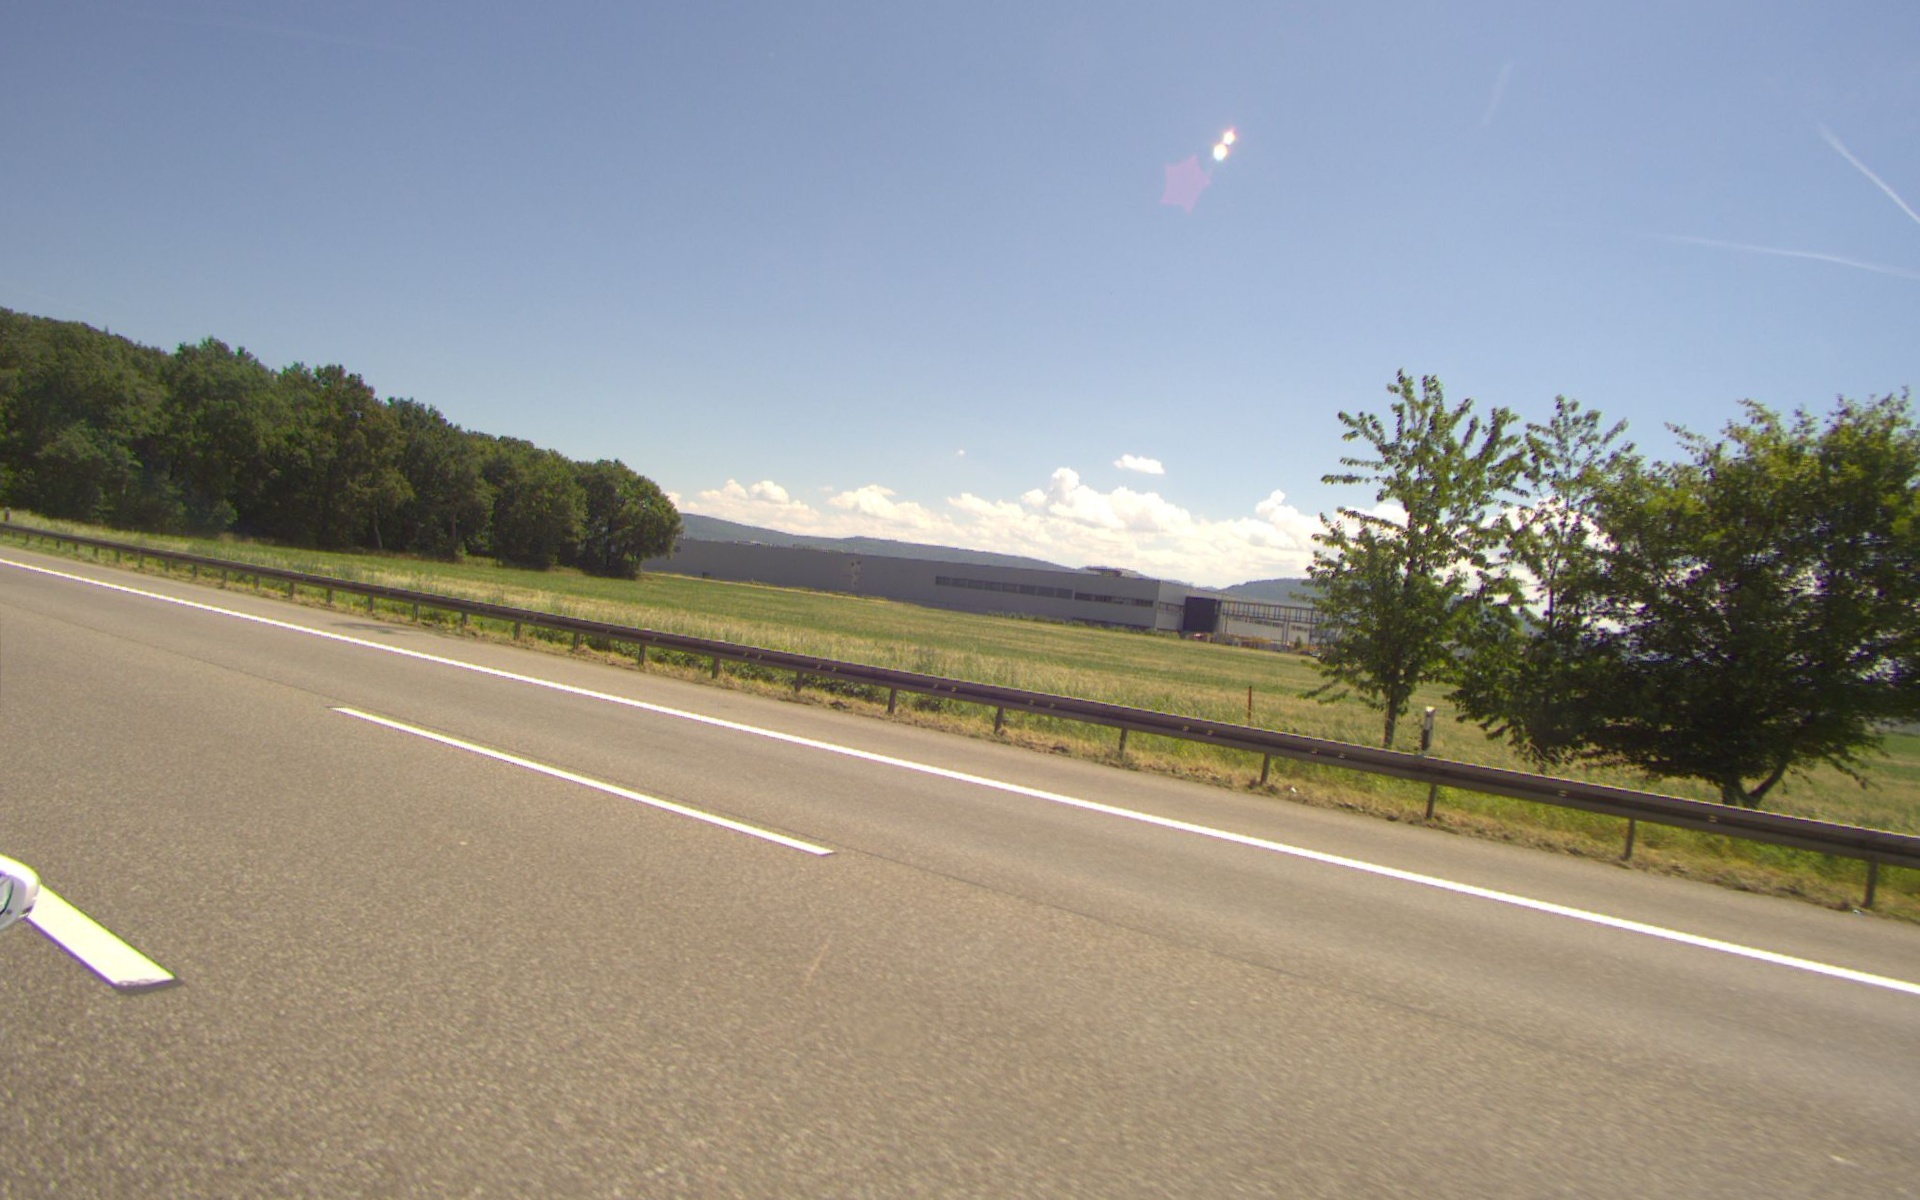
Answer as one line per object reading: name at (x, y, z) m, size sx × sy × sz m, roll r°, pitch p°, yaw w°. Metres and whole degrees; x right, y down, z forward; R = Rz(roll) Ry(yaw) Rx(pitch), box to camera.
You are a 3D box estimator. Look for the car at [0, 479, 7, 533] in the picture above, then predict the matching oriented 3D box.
car at (-24.635, -2.072, 23.535) m, size 5.430 × 2.026 × 1.859 m, roll 6°, pitch -2°, yaw 31°
